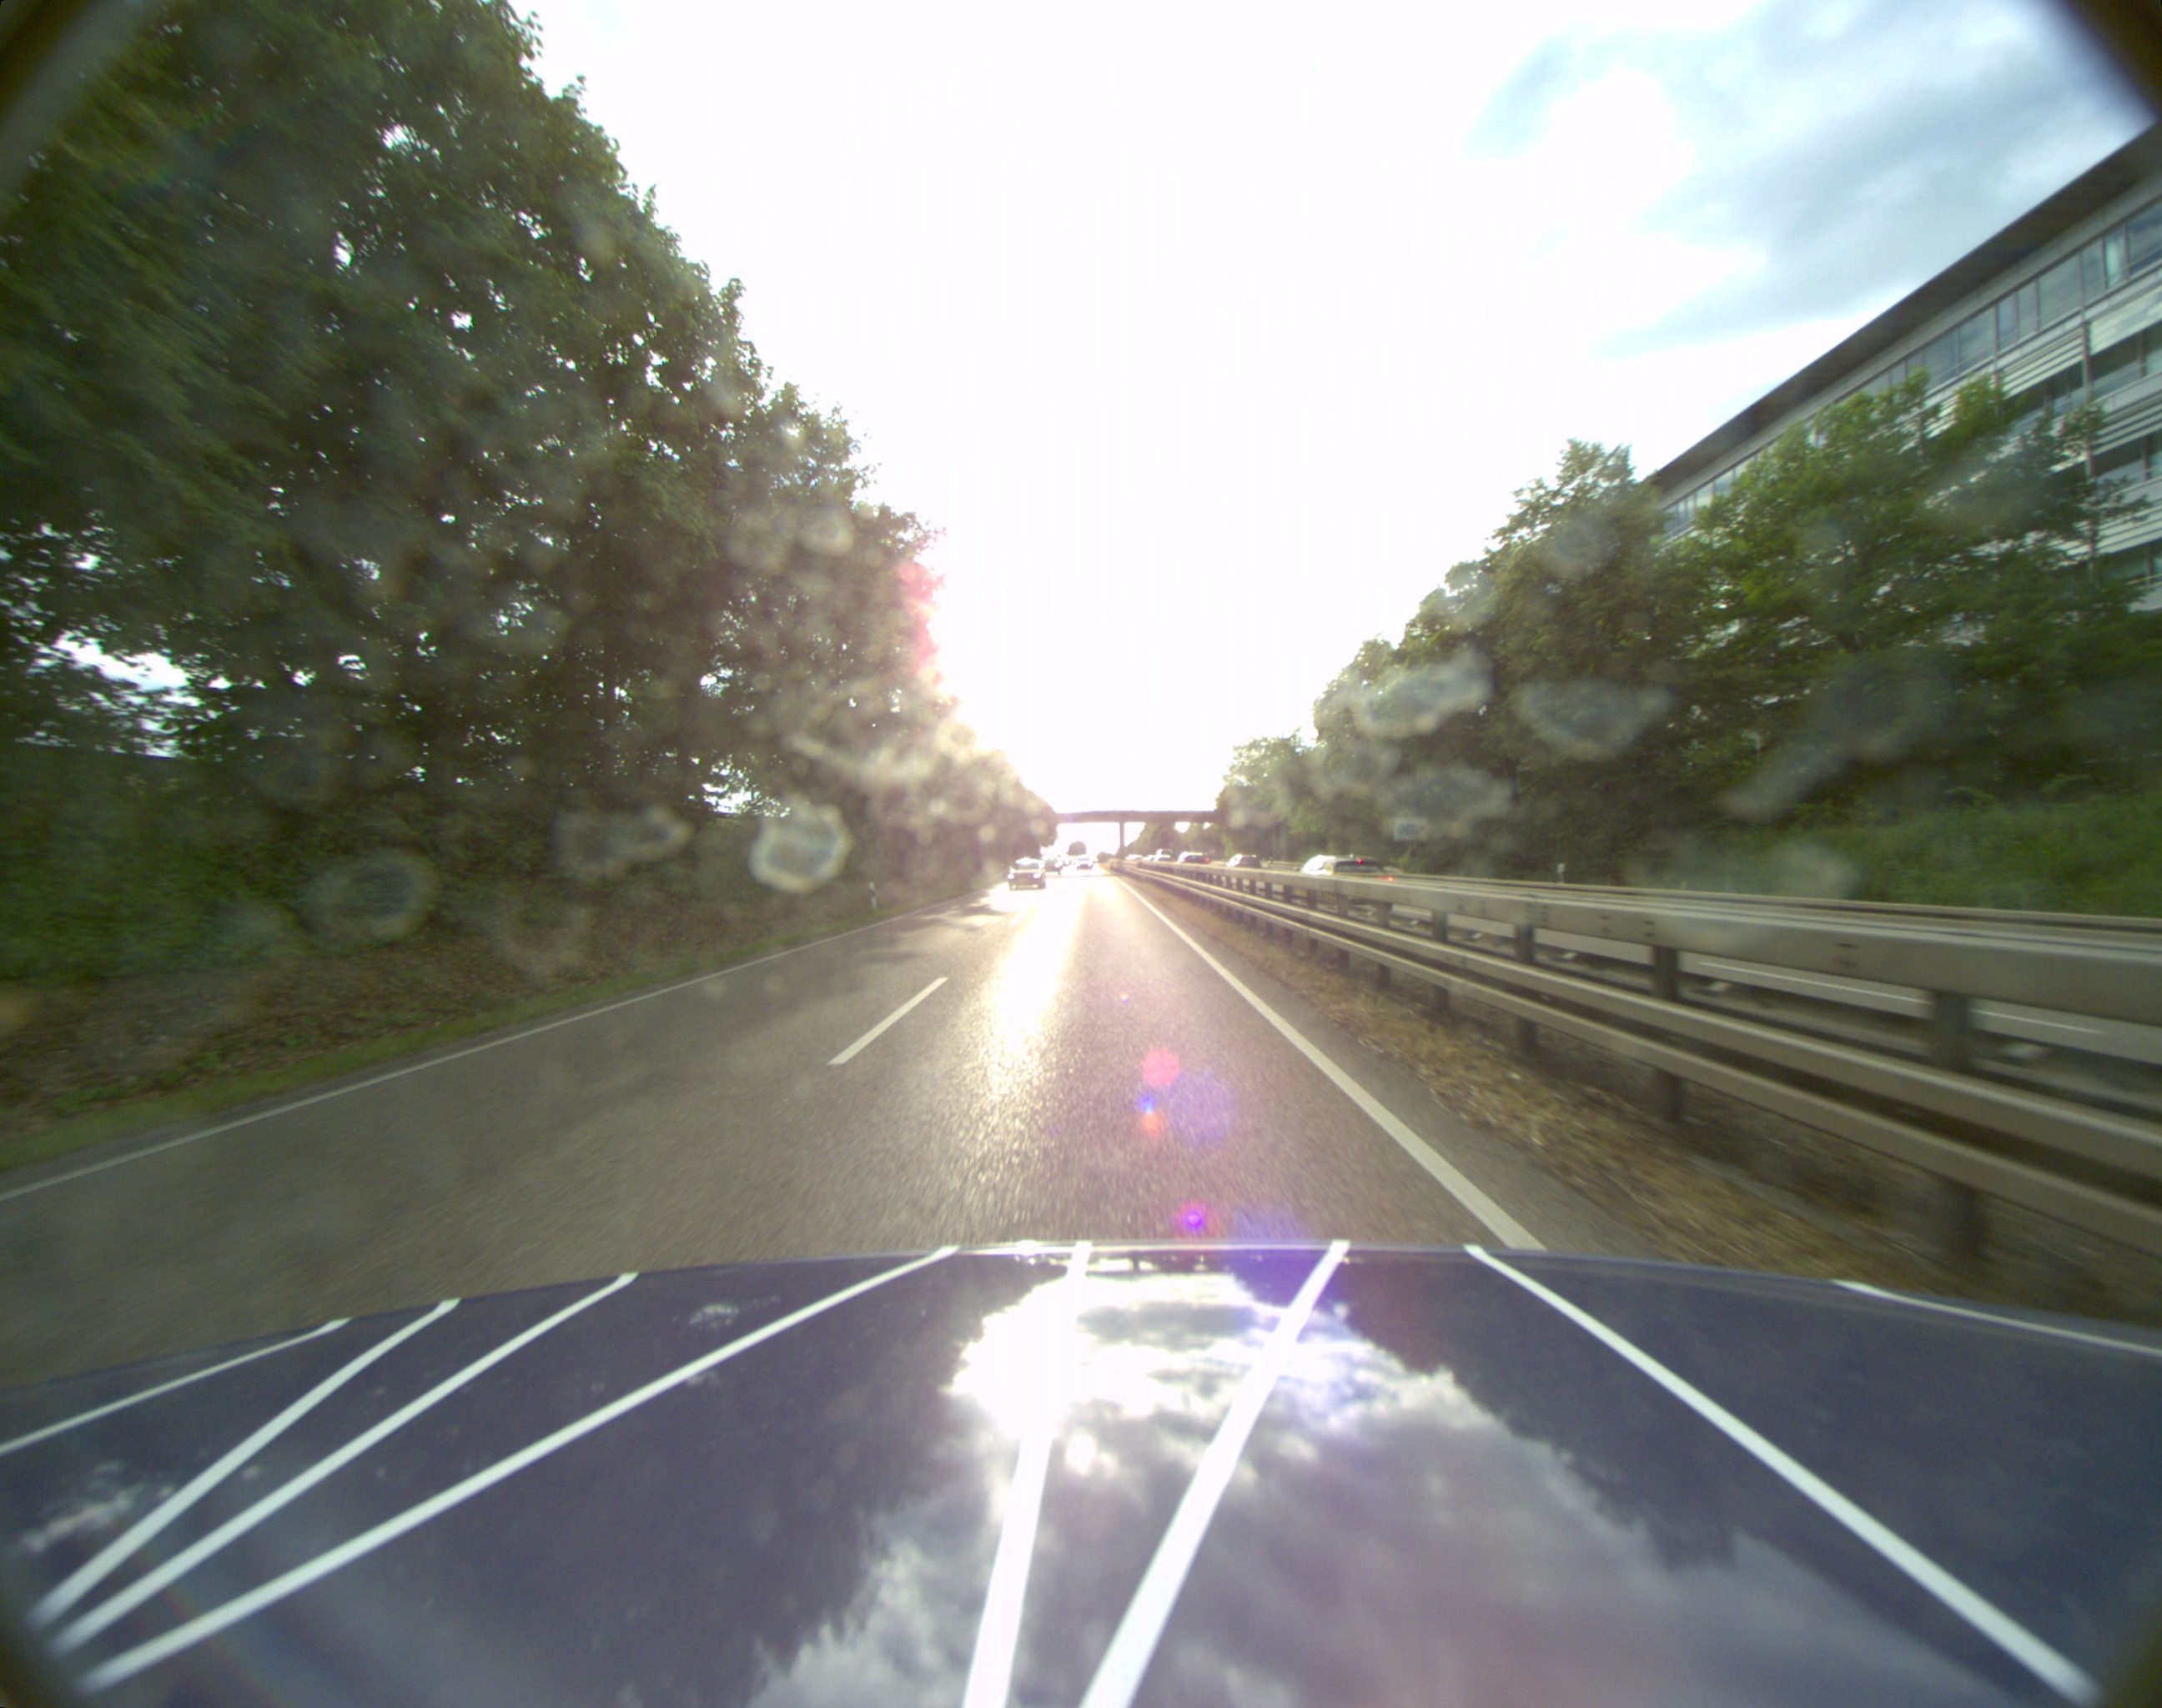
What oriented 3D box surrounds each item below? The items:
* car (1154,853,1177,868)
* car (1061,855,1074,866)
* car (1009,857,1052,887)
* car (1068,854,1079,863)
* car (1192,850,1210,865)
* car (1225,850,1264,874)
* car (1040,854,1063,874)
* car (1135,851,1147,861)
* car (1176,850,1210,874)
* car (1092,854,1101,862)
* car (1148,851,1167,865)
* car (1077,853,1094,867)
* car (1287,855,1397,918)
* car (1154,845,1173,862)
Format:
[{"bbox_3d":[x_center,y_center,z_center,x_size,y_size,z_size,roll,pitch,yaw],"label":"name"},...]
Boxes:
[{"bbox_3d":[7.752,0.556,69.667,1.680,1.344,3.831,-1,0,1],"label":"car"},{"bbox_3d":[-2.030,1.030,118.349,1.723,1.657,4.420,-3,-1,2],"label":"car"},{"bbox_3d":[-2.589,0.921,39.757,1.723,1.467,3.729,-1,-1,3],"label":"car"},{"bbox_3d":[-1.392,0.800,145.351,1.948,1.652,4.001,-3,-1,2],"label":"car"},{"bbox_3d":[14.938,0.406,94.614,1.871,1.844,4.624,-2,0,6],"label":"car"},{"bbox_3d":[11.195,0.529,52.356,1.747,1.580,4.311,-1,0,0],"label":"car"},{"bbox_3d":[-2.655,0.911,69.577,1.723,1.657,4.420,-3,-1,2],"label":"car"},{"bbox_3d":[9.418,0.243,119.183,1.610,1.519,3.640,-2,0,0],"label":"car"},{"bbox_3d":[7.669,0.519,52.437,1.825,1.574,4.316,-1,0,1],"label":"car"},{"bbox_3d":[4.052,1.034,199.344,1.998,2.002,4.000,-3,0,1],"label":"car"},{"bbox_3d":[8.482,0.447,84.412,1.686,1.477,3.646,-1,0,1],"label":"car"},{"bbox_3d":[0.521,0.689,84.863,1.723,1.493,4.420,-3,-1,2],"label":"car"},{"bbox_3d":[6.755,0.782,20.104,1.595,1.439,4.000,-1,1,1],"label":"car"},{"bbox_3d":[12.744,-0.031,118.010,2.255,2.522,6.941,-2,0,1],"label":"car"}]
